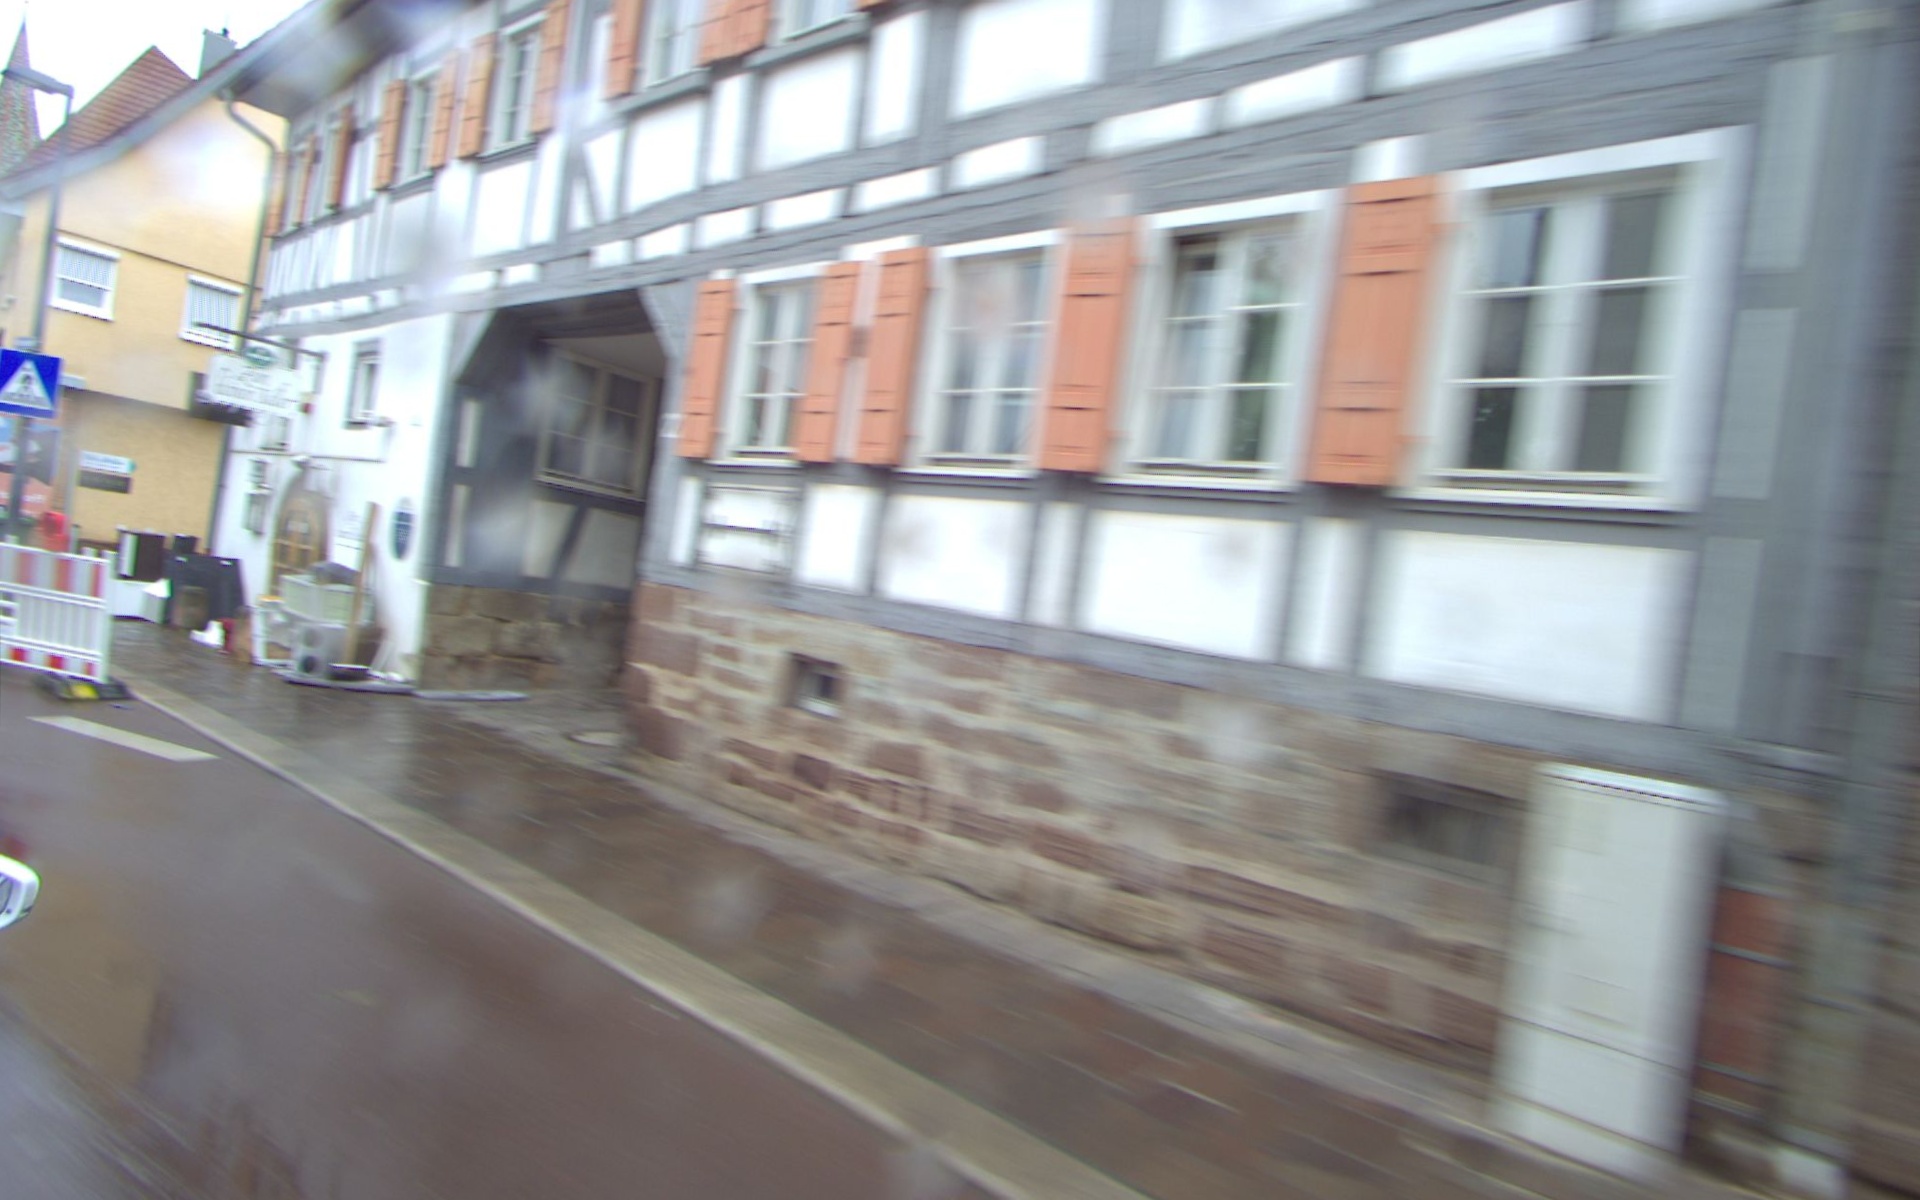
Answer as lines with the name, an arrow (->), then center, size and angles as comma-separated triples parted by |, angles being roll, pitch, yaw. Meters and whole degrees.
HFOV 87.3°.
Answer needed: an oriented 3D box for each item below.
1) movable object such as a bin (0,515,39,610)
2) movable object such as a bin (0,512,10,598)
movable object such as a bin -> -11.583, -0.474, 11.997 | 0.531, 1.079, 0.679 | 9, 2, 31
movable object such as a bin -> -12.185, -0.583, 12.361 | 0.612, 1.079, 0.534 | 5, 1, -36
